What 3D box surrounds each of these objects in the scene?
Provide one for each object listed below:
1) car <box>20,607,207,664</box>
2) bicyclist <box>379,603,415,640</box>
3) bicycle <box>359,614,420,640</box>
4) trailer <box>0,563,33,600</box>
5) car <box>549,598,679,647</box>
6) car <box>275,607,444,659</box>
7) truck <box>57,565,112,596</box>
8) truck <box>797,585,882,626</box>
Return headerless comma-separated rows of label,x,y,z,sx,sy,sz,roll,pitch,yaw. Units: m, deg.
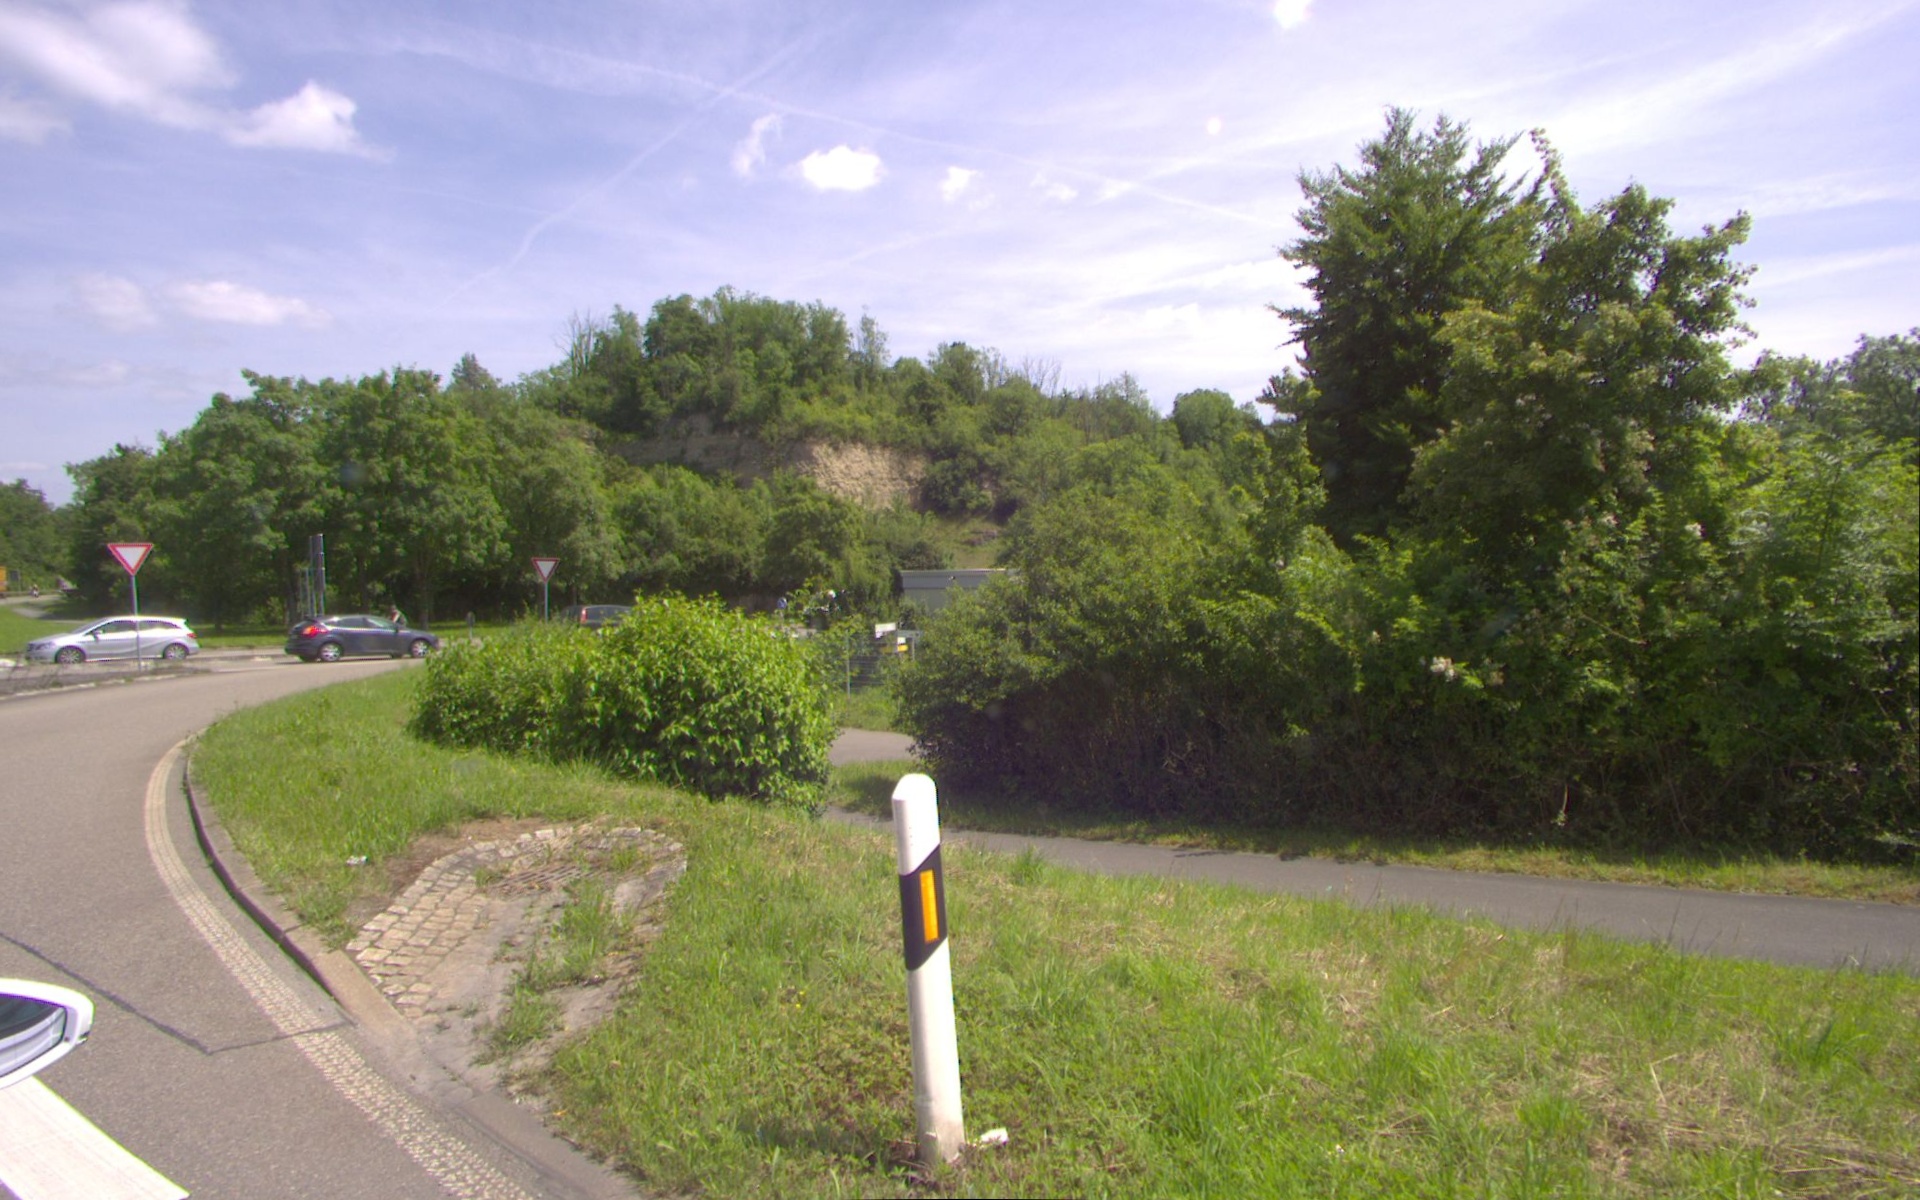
car,-27.767,1.170,32.980,1.975,1.740,4.413,-3,-3,37
bicyclist,-22.700,0.870,40.357,0.784,1.466,1.004,-2,-2,30
bicycle,-22.845,1.088,40.129,0.785,1.008,1.987,-3,-2,29
trailer,-115.855,-2.197,117.413,4.951,4.420,20.744,0,0,-27
car,-13.922,0.937,40.595,1.970,1.807,4.922,-3,-3,29
car,-19.074,1.054,31.968,1.976,1.509,4.228,-3,-3,38
truck,-120.590,-2.625,138.118,3.143,4.083,11.684,-1,1,-29
truck,-7.254,0.374,60.865,1.977,2.324,5.122,-3,-3,40
